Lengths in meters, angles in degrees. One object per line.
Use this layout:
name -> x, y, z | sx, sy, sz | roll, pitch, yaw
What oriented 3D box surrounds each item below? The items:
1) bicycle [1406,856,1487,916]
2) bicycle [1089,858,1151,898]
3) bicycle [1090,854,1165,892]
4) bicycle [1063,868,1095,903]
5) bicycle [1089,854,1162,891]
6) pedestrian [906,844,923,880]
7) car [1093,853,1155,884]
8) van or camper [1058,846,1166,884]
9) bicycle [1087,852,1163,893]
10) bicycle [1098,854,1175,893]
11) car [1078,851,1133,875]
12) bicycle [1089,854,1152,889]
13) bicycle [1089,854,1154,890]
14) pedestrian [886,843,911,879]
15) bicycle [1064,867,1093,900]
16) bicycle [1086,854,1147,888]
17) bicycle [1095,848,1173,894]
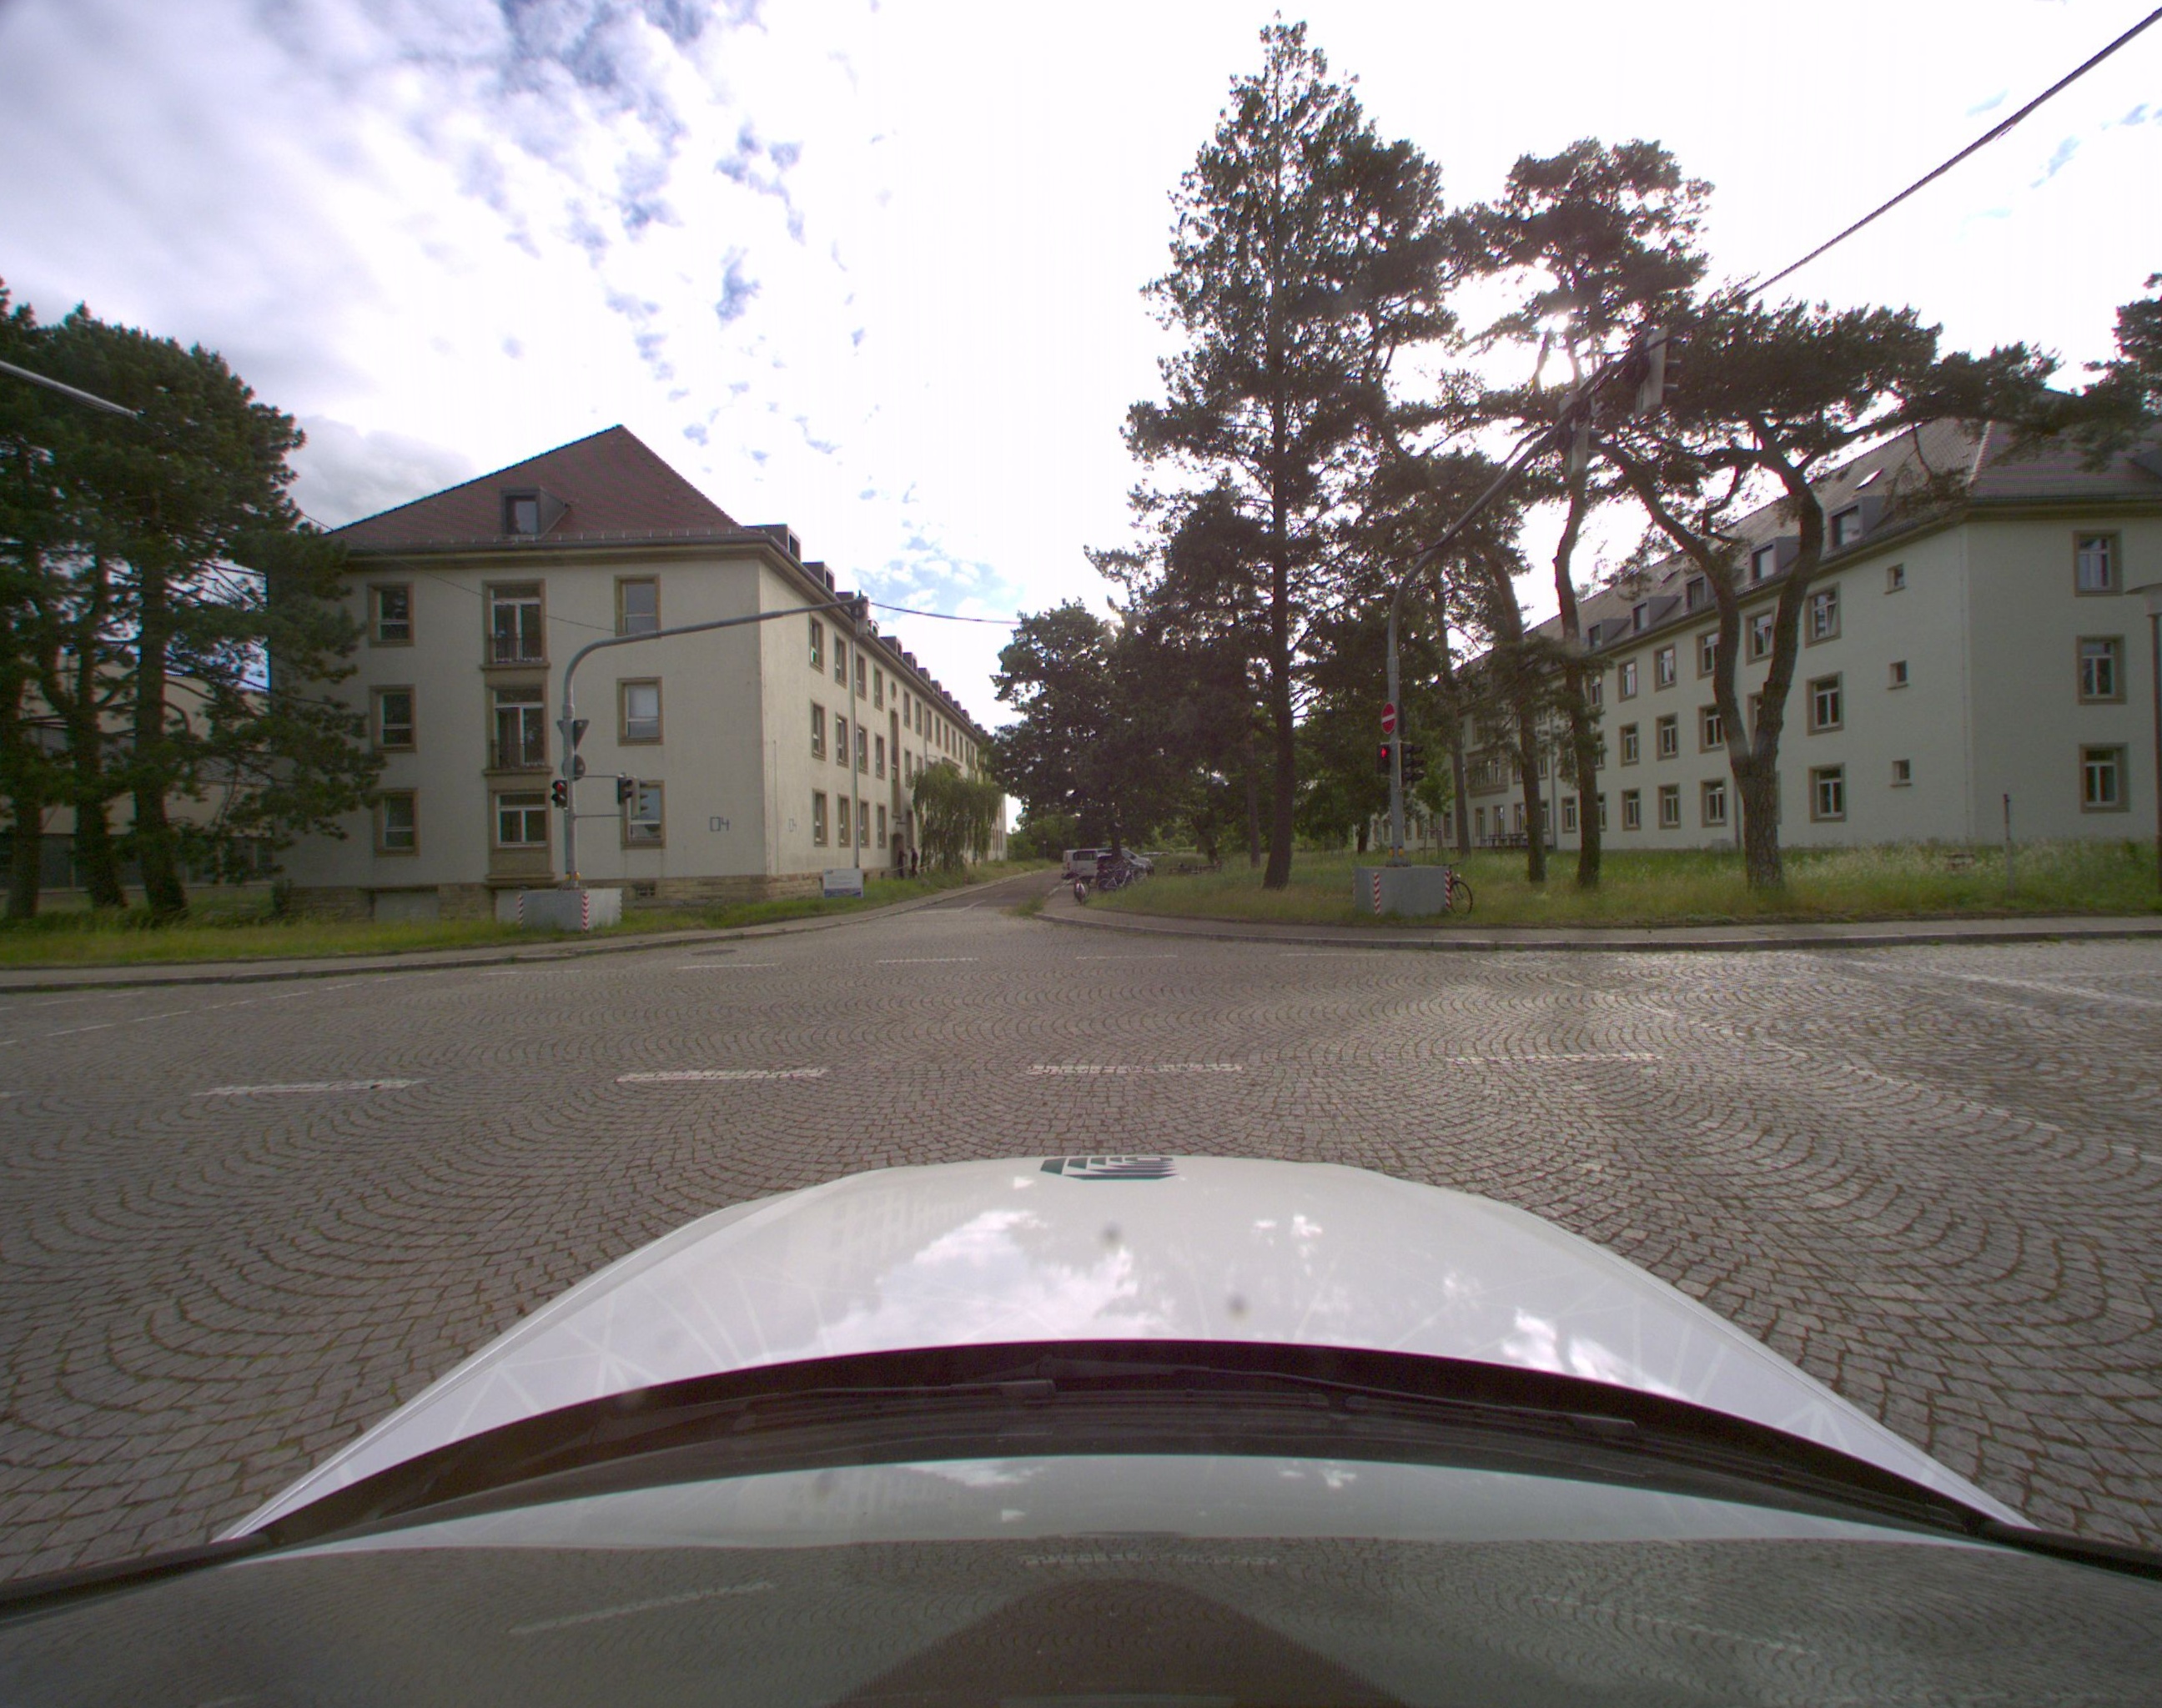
bicycle -> 7.192, 0.603, 16.115 | 0.642, 1.062, 1.833 | -5, 0, -1
bicycle -> 1.346, 0.808, 28.301 | 2.106, 1.306, 0.874 | -2, 0, 0
bicycle -> 1.756, 0.722, 31.243 | 2.793, 1.372, 0.951 | -2, 0, 0
bicycle -> -0.042, 0.940, 24.940 | 0.897, 0.996, 1.979 | -2, 0, 1
bicycle -> 1.750, 0.729, 32.137 | 2.793, 1.372, 0.951 | -2, 0, 0
pedestrian -> -9.079, 0.454, 44.445 | 0.865, 1.932, 0.834 | 0, -1, -10
car -> 2.237, 0.752, 42.980 | 3.214, 1.621, 1.937 | 0, -1, 0
van or camper -> 1.731, 0.607, 46.421 | 5.744, 1.957, 2.229 | -2, 0, -11
bicycle -> 1.547, 0.636, 28.911 | 2.610, 1.367, 0.874 | -2, 0, 0
bicycle -> 2.069, 0.715, 30.704 | 2.793, 1.372, 0.951 | -2, 0, 0
car -> 1.771, 0.664, 60.253 | 3.976, 1.600, 1.702 | -2, 0, -2
bicycle -> 1.635, 0.717, 33.942 | 2.559, 1.372, 0.950 | -2, 0, 0
bicycle -> 1.627, 0.710, 33.102 | 2.559, 1.372, 0.950 | -2, 0, 0
pedestrian -> -9.663, 0.360, 43.165 | 1.194, 1.870, 1.545 | 0, -1, -9
bicycle -> -0.063, 0.959, 27.034 | 0.724, 0.996, 1.982 | -2, 0, 6
bicycle -> 1.493, 0.725, 34.783 | 2.559, 1.372, 0.950 | -2, 0, 0
bicycle -> 1.914, 0.613, 29.776 | 2.793, 1.583, 0.951 | -2, 0, 0
